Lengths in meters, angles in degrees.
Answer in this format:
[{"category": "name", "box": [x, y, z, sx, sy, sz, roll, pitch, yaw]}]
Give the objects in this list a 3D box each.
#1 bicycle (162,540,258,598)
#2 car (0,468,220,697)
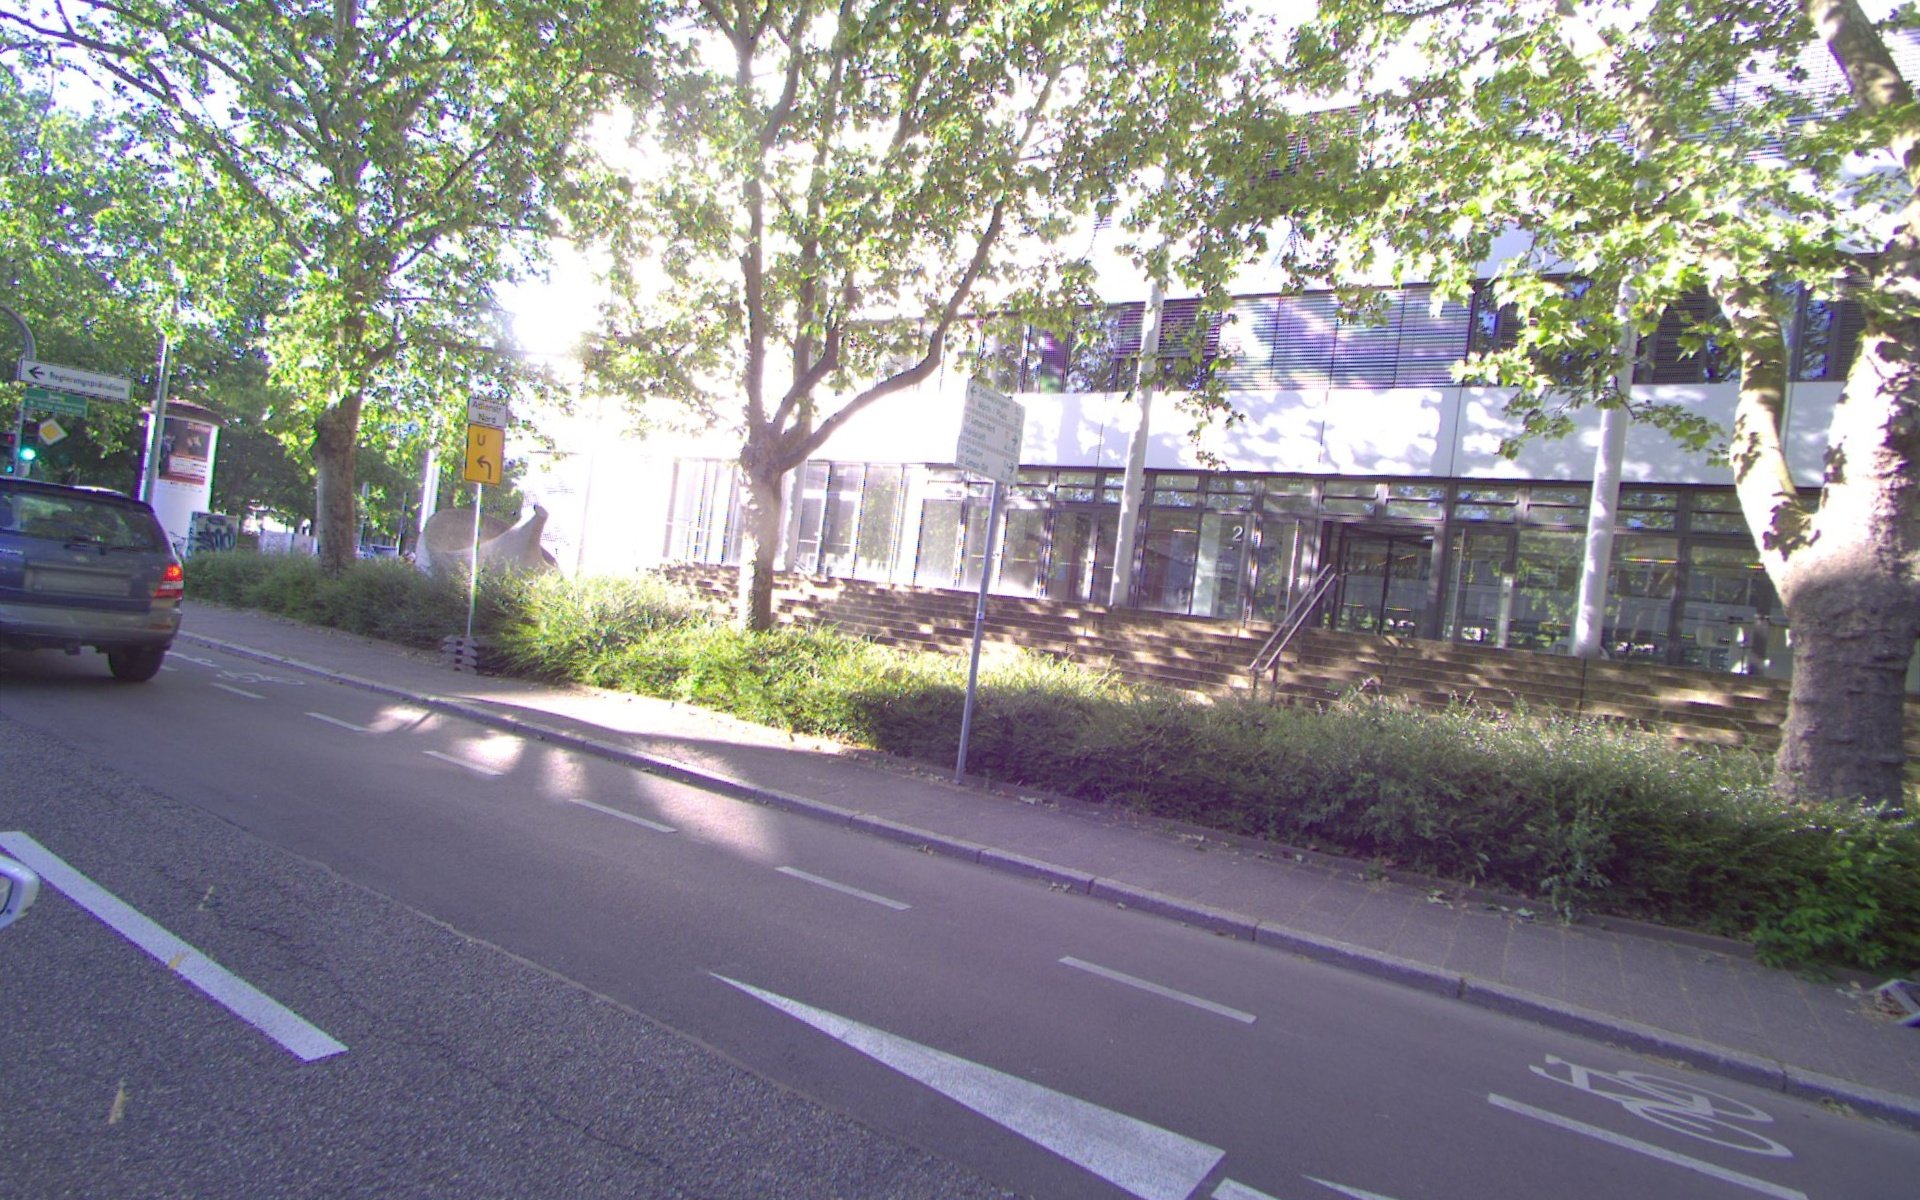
[{"category": "bicycle", "box": [-15.870, -0.625, 21.350, 0.631, 1.040, 1.887, 7, -2, -5]}, {"category": "car", "box": [-9.181, -0.308, 9.520, 4.407, 1.784, 1.865, 7, -1, 32]}]
